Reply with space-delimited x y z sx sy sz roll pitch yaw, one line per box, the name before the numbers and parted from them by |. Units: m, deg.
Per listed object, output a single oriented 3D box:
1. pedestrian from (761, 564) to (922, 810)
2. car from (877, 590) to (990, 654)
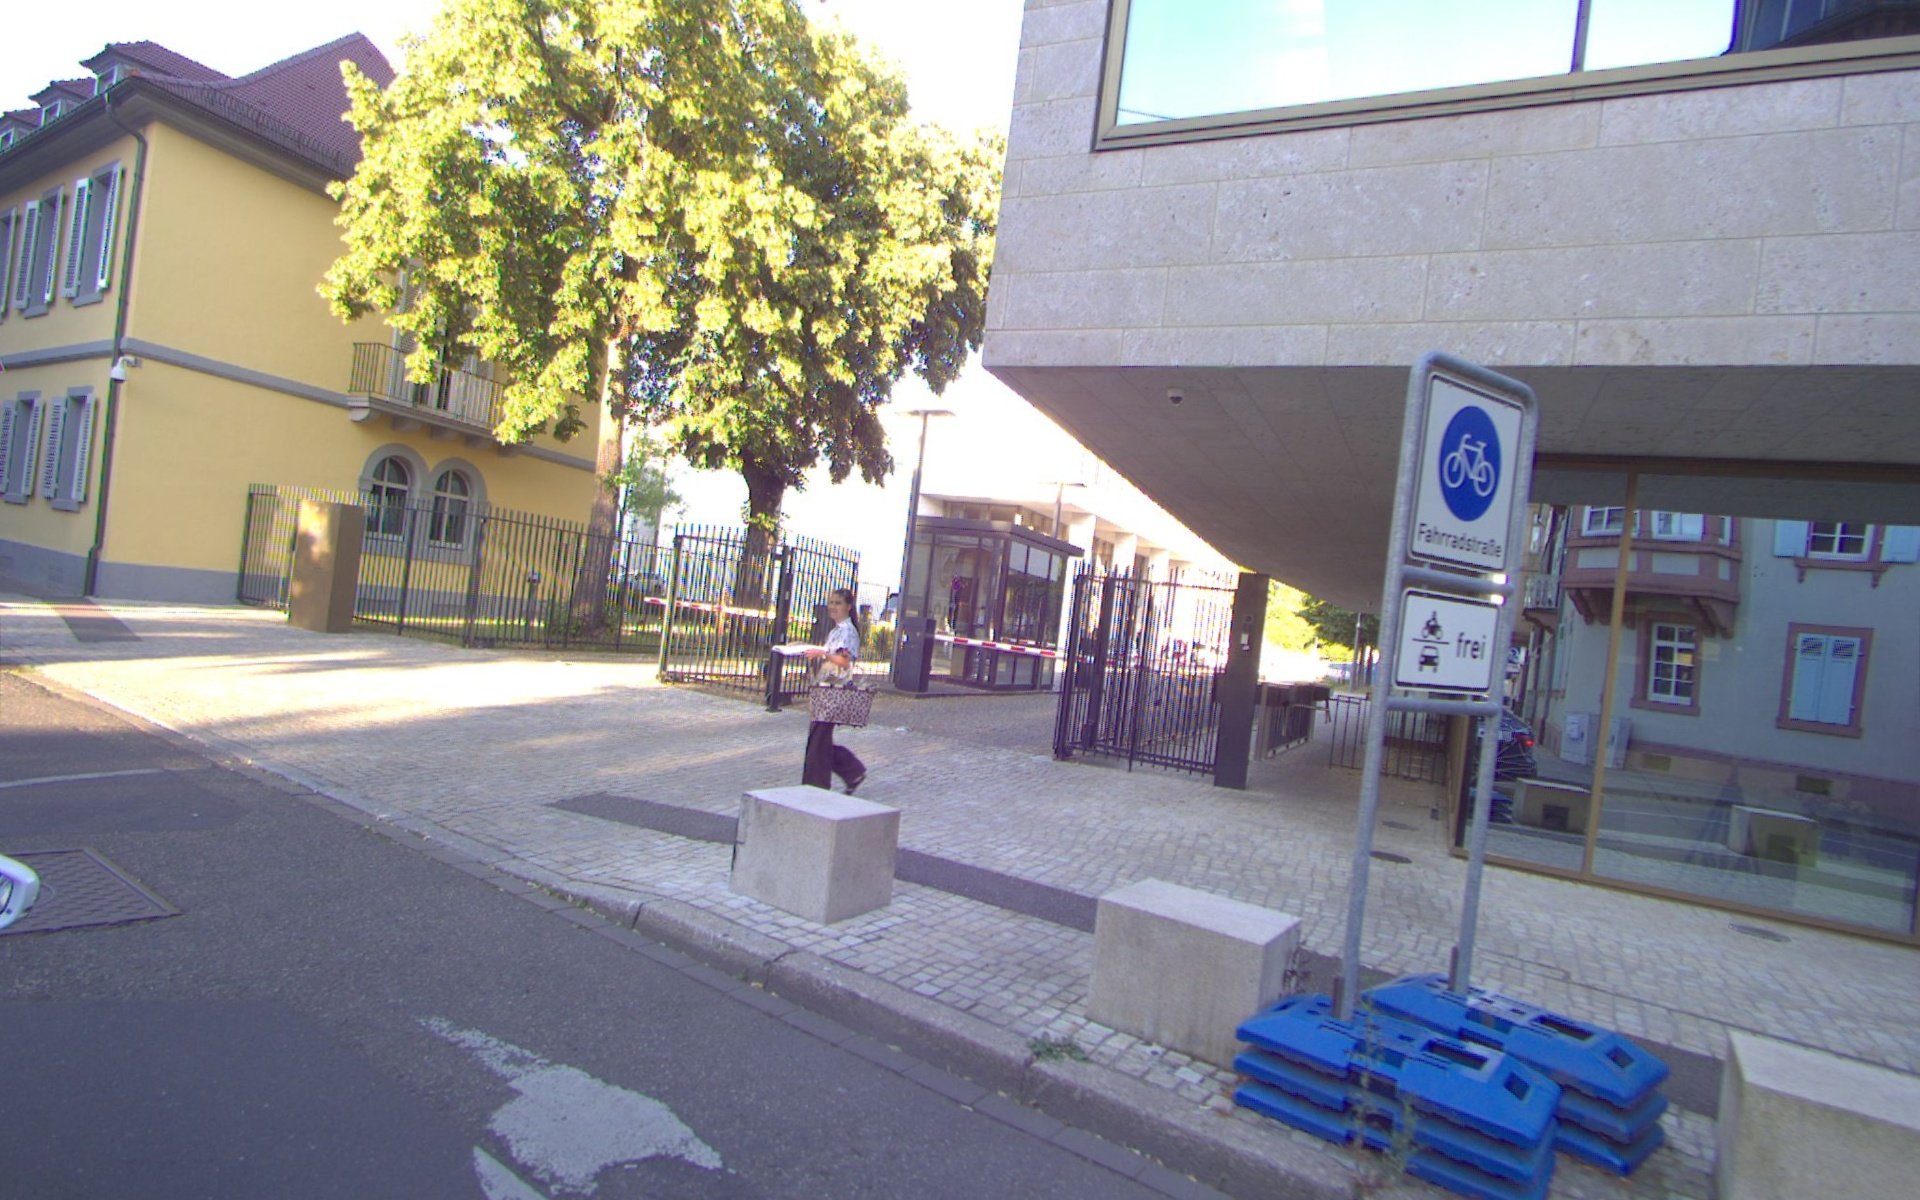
pedestrian | -0.887 0.627 7.399 0.945 1.680 0.637 5 1 -18
car | -0.783 0.765 32.632 1.681 1.757 4.057 4 -2 30
